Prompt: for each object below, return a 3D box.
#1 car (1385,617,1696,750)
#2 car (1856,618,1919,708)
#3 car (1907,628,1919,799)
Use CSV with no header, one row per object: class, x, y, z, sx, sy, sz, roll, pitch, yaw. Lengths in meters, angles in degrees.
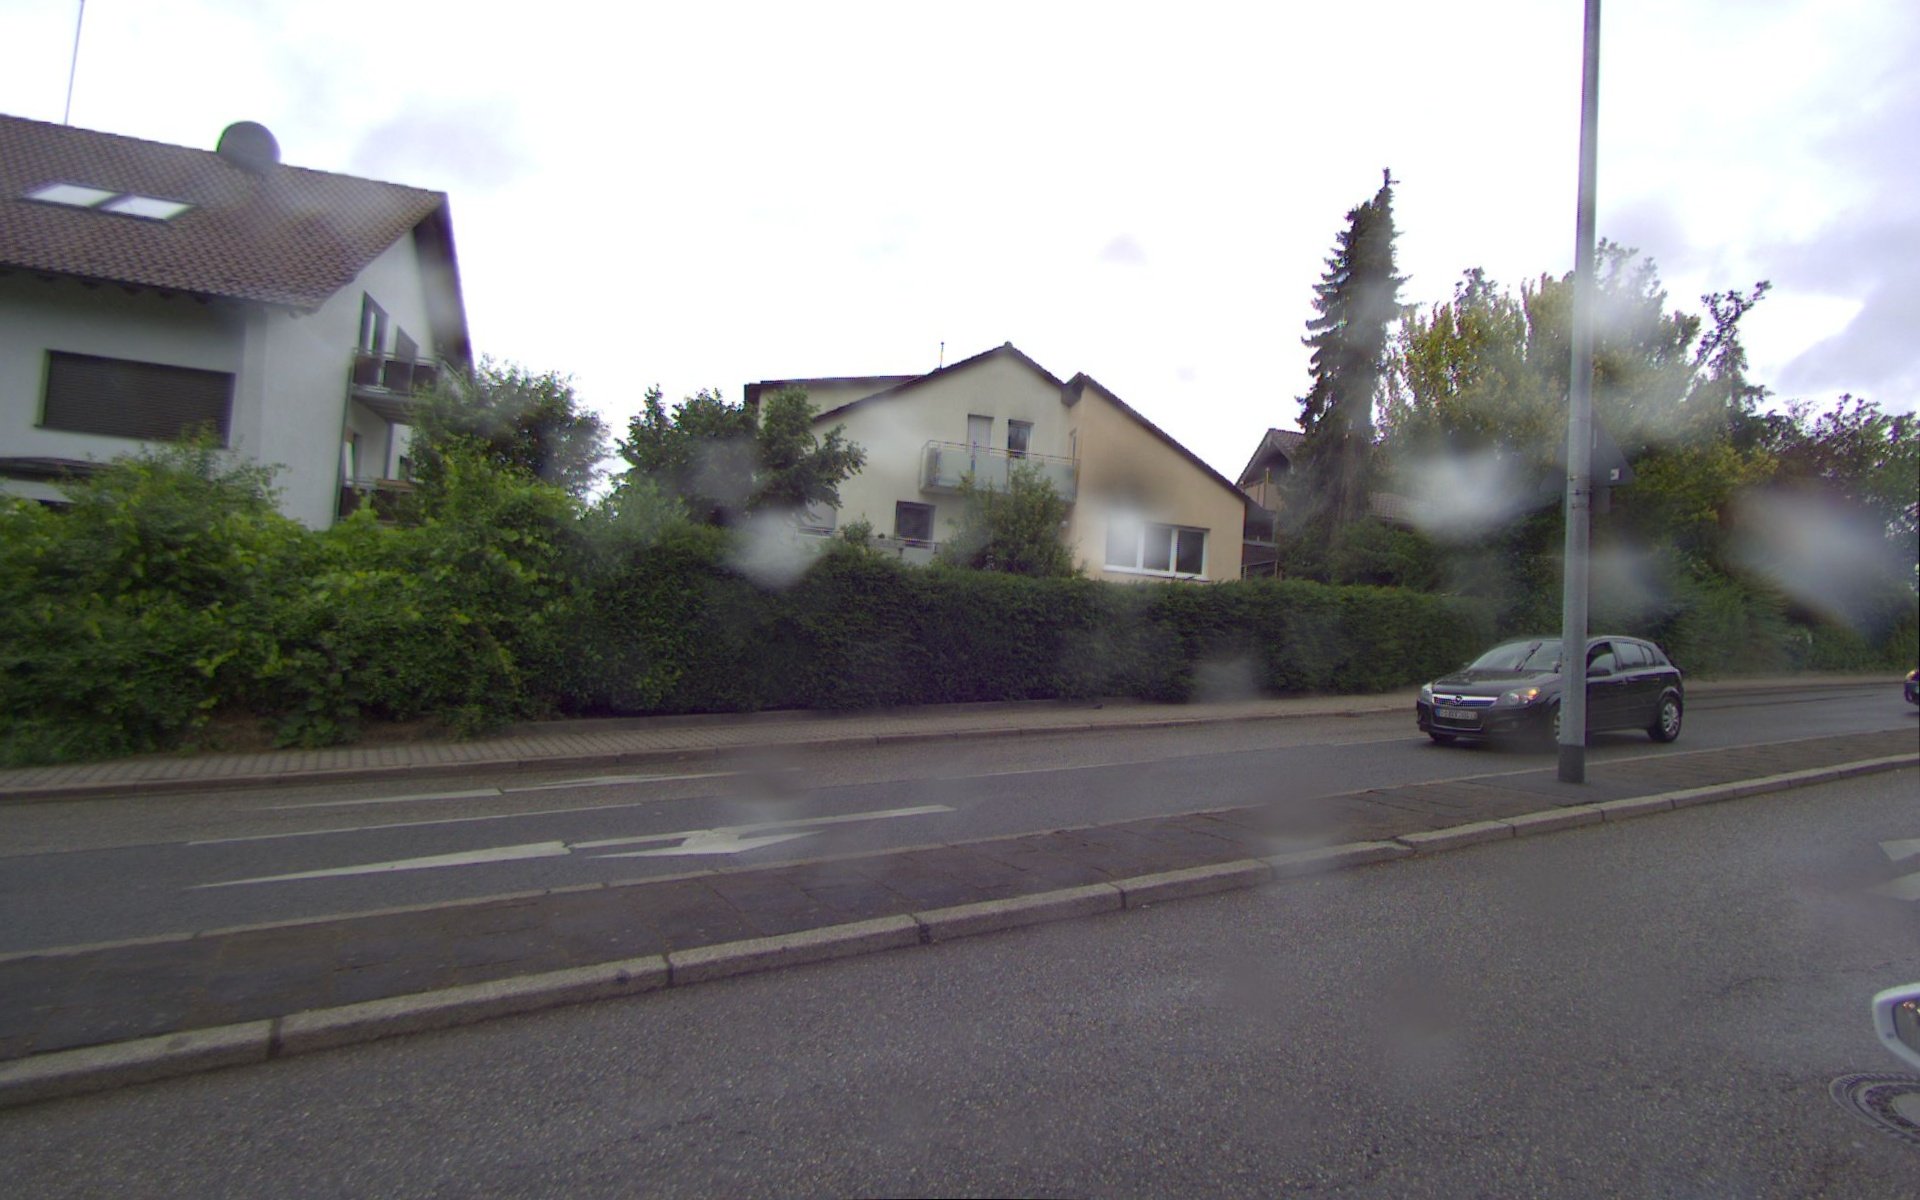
car,7.782,1.037,13.429,3.953,1.529,1.887,1,-3,-30
car,19.484,1.151,18.612,3.950,1.623,1.750,-1,-2,9
car,10.994,1.046,9.353,4.276,1.547,1.985,2,-3,-30
